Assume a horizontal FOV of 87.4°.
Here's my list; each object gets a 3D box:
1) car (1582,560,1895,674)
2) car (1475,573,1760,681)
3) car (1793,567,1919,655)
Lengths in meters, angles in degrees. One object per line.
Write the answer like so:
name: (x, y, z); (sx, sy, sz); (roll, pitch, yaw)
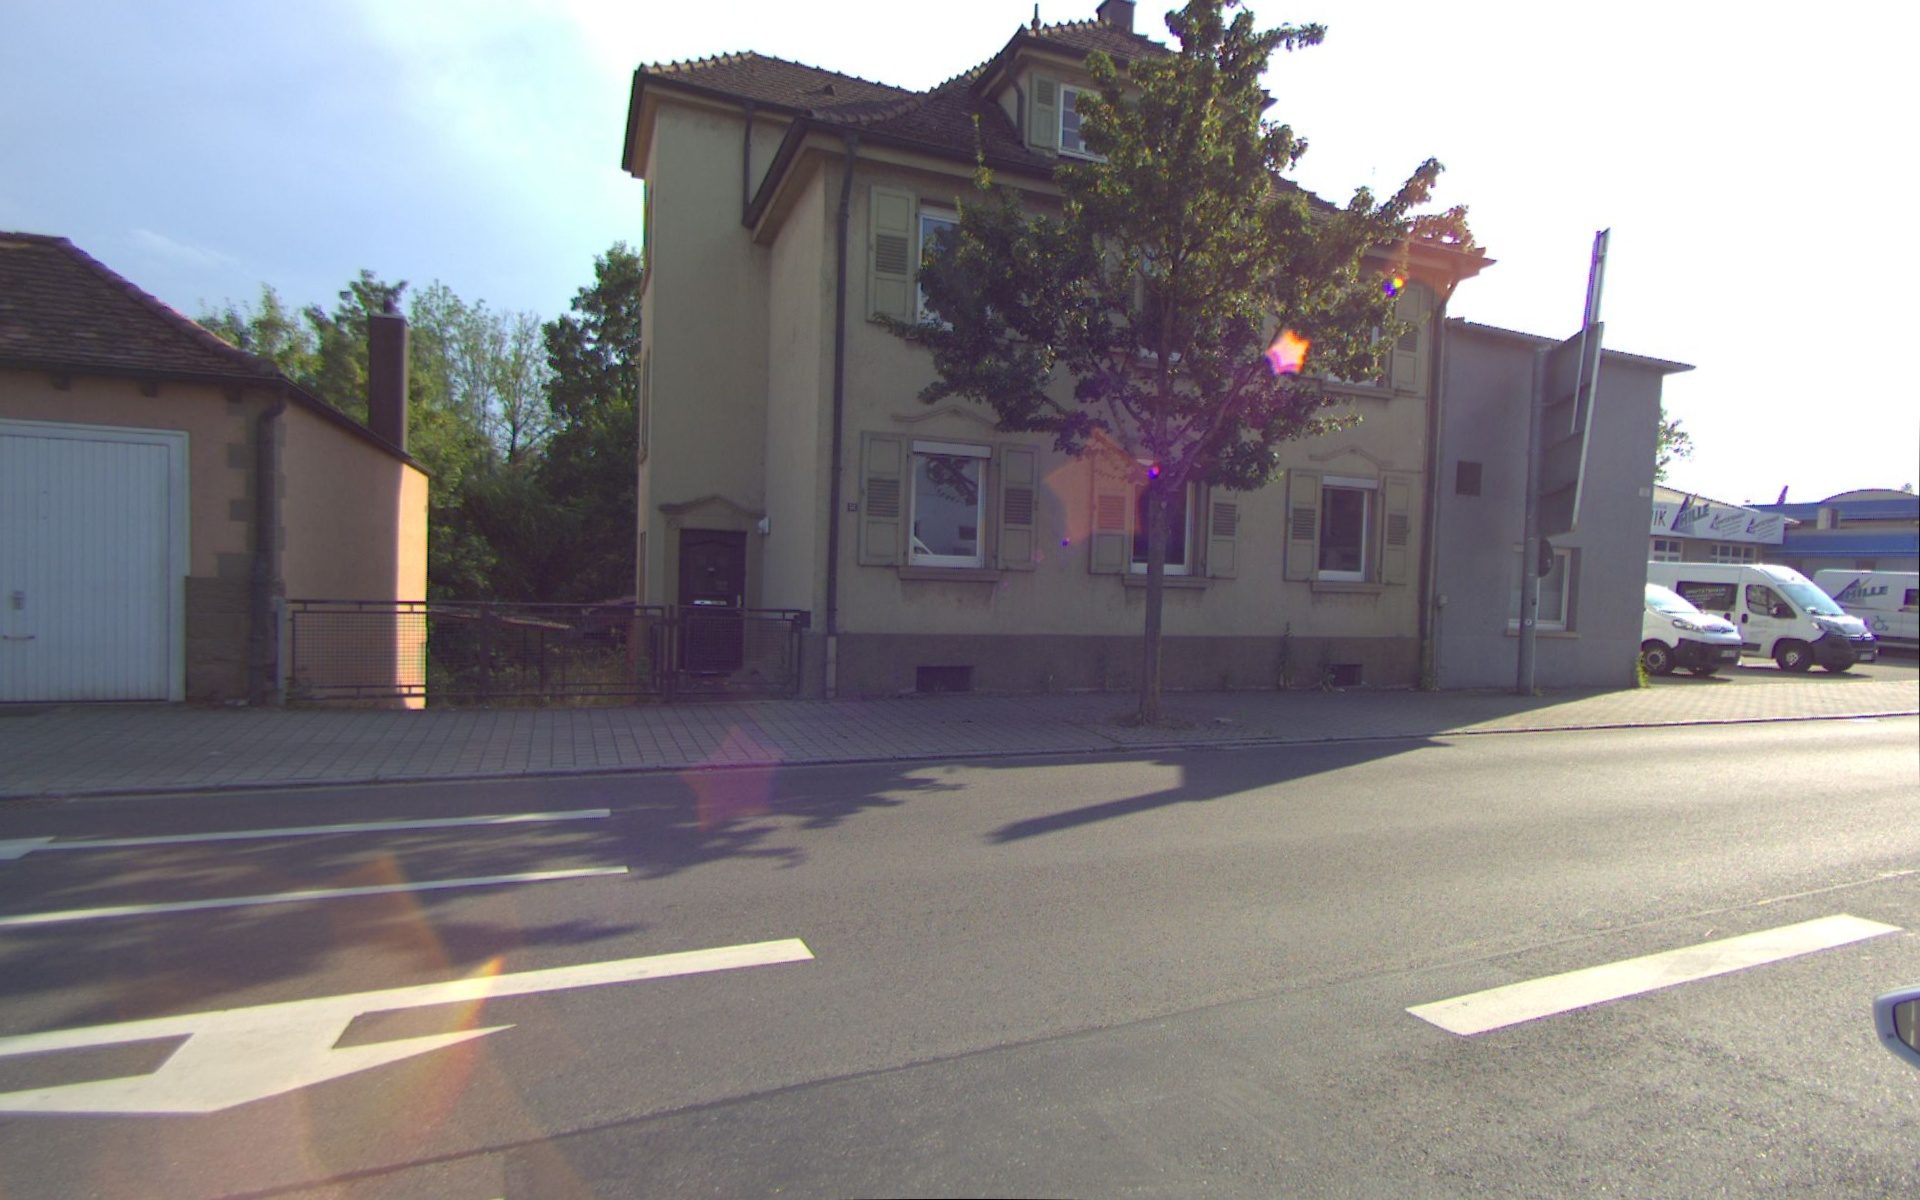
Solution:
car: (19.320, 0.283, 25.387); (2.163, 2.514, 5.904); (0, 2, -24)
car: (14.297, 0.484, 22.240); (1.909, 2.026, 4.960); (1, 2, -25)
car: (28.362, 0.350, 29.071); (2.221, 2.478, 6.133); (0, 2, -28)
